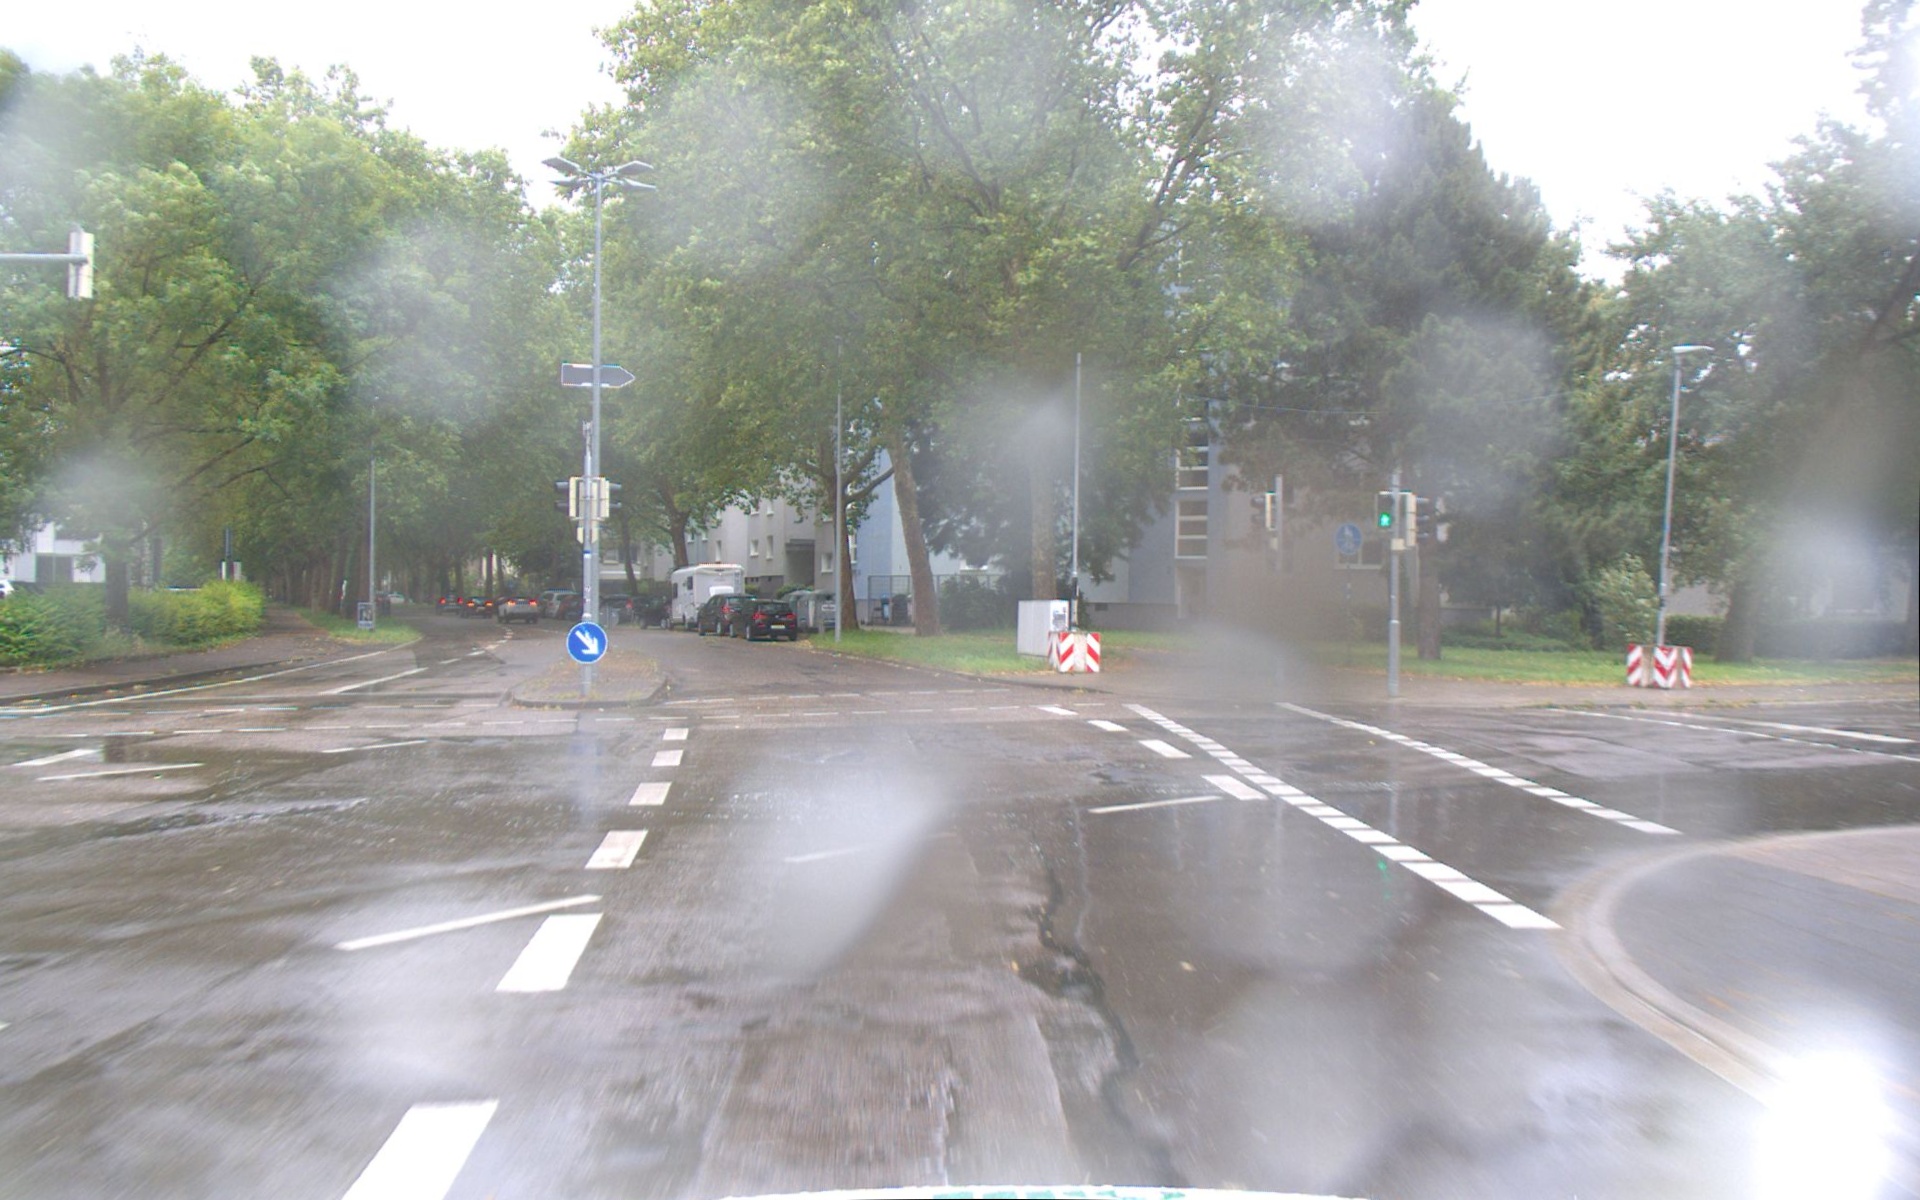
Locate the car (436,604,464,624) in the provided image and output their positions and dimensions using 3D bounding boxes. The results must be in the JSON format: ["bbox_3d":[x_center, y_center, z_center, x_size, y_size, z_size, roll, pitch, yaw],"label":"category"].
[{"bbox_3d":[-39.564,1.085,128.386,1.683,1.436,3.618,-2,1,-23],"label":"car"}]

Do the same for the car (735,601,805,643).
[{"bbox_3d":[-6.839,0.766,59.202,1.526,1.414,4.124,2,0,-21],"label":"car"}]

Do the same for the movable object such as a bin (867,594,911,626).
[{"bbox_3d":[-3.342,0.486,77.826,1.206,1.457,1.835,2,0,-41],"label":"movable object such as a bin"}]

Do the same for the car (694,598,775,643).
[{"bbox_3d":[-8.761,0.808,63.954,1.891,1.649,4.419,2,-2,-24],"label":"car"}]

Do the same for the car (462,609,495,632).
[{"bbox_3d":[-32.569,1.389,111.764,1.683,1.436,3.618,-2,1,-23],"label":"car"}]

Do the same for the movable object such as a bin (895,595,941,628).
[{"bbox_3d":[-1.950,0.519,76.555,1.206,1.457,1.835,2,0,-41],"label":"movable object such as a bin"}]

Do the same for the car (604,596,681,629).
[{"bbox_3d":[-16.499,0.676,86.147,1.767,1.629,3.754,1,0,36],"label":"car"}]

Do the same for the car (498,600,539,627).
[{"bbox_3d":[-24.741,0.731,92.618,1.683,1.436,3.618,-2,1,-23],"label":"car"}]

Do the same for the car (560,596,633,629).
[{"bbox_3d":[-21.051,0.703,95.921,1.803,1.726,3.850,1,2,38],"label":"car"}]

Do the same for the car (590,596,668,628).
[{"bbox_3d":[-17.888,0.676,89.533,1.767,1.629,3.984,1,0,36],"label":"car"}]

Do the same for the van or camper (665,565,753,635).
[{"bbox_3d":[-10.944,0.012,71.624,2.286,2.856,6.819,1,0,-21],"label":"van or camper"}]
